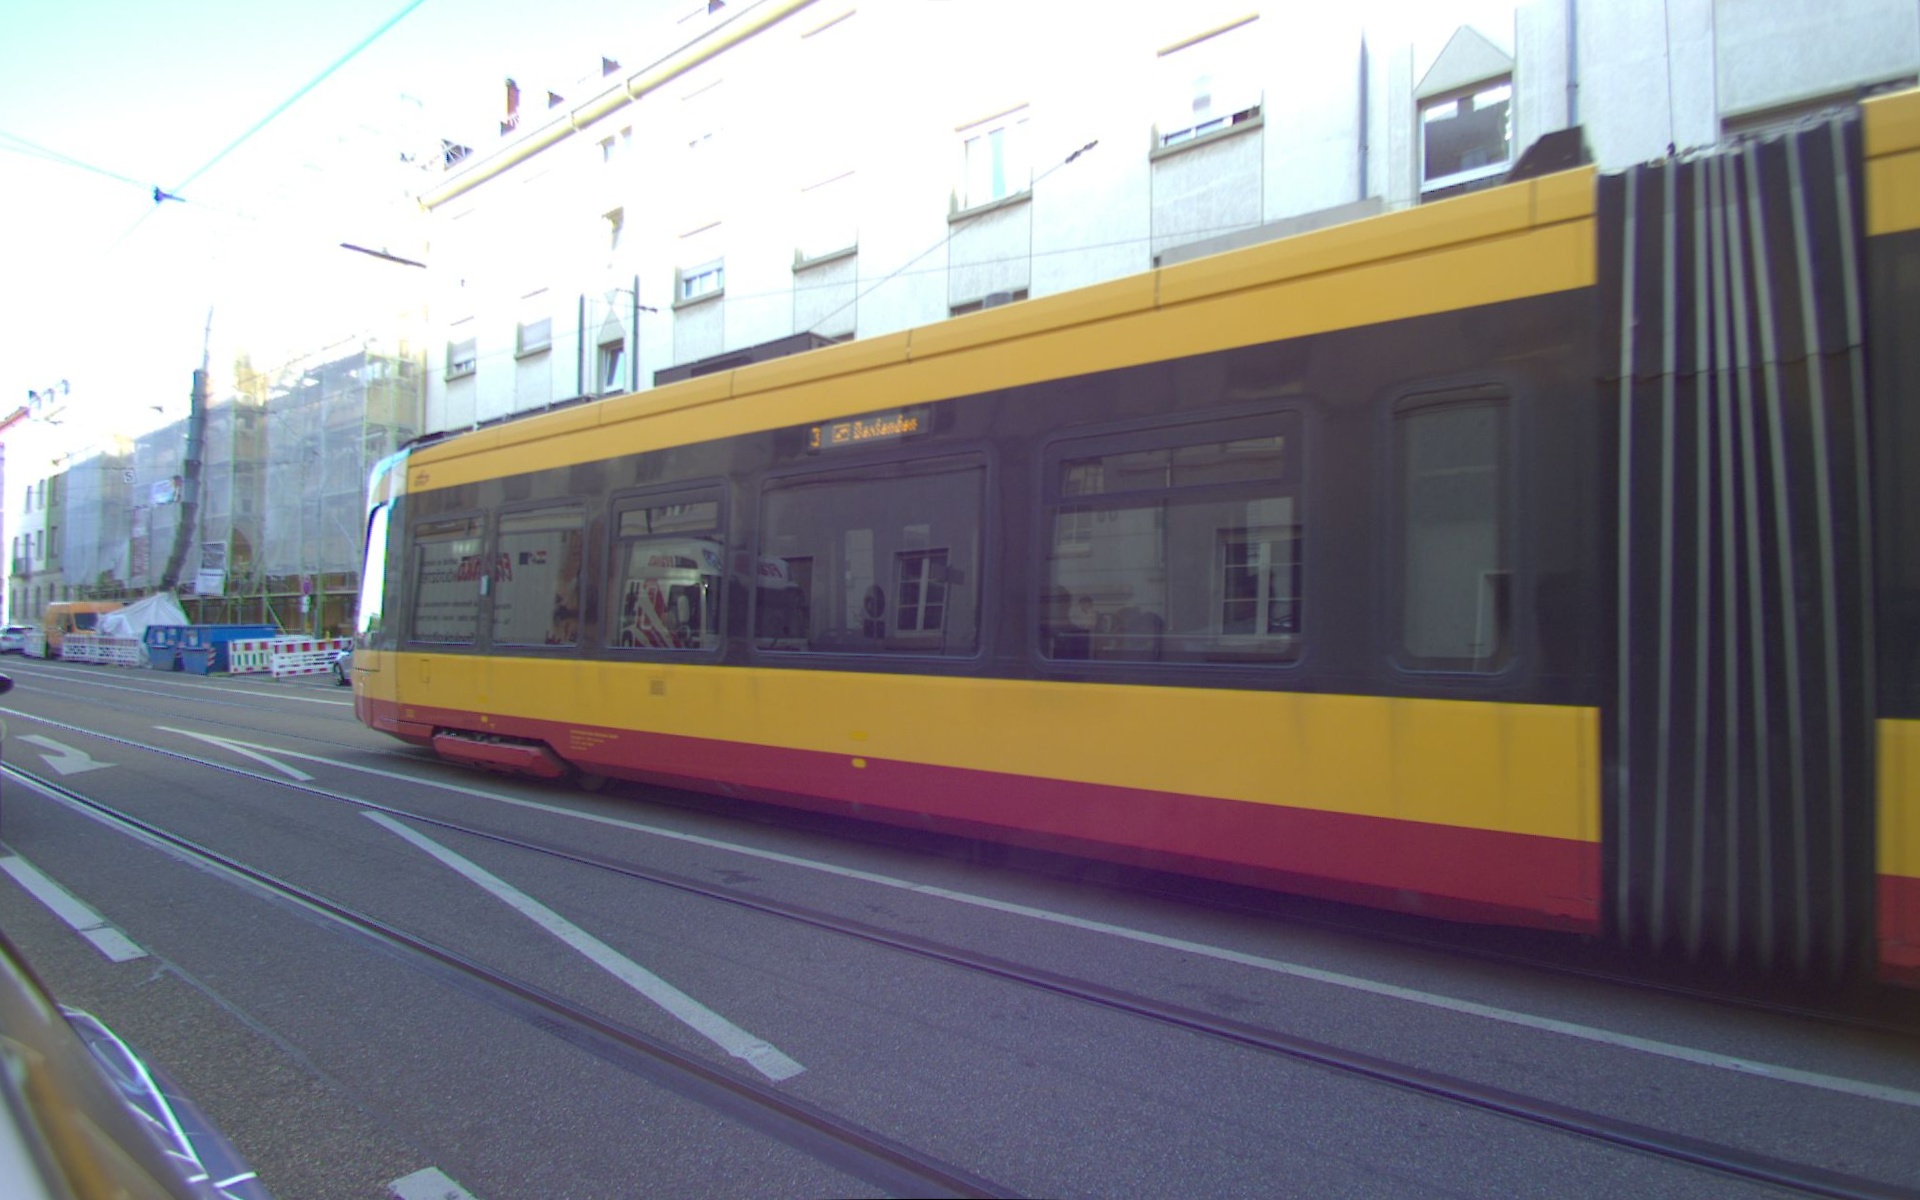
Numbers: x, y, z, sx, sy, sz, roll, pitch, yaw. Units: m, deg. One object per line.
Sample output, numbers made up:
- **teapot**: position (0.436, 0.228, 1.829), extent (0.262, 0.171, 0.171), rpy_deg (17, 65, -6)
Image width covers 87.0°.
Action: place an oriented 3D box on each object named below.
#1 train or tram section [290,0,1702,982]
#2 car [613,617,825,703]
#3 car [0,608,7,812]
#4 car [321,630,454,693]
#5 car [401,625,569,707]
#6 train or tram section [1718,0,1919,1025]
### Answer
- **train or tram section**: position (-1.598, -0.393, 8.590), extent (12.615, 3.621, 3.032), rpy_deg (-1, -3, 39)
- **car**: position (-4.170, 0.956, 17.382), extent (3.483, 1.286, 1.730), rpy_deg (-1, 0, 37)
- **car**: position (-8.026, 0.823, 6.970), extent (3.997, 1.515, 1.670), rpy_deg (-1, -3, 40)
- **car**: position (-14.458, 1.485, 25.495), extent (3.639, 1.402, 1.617), rpy_deg (-1, 0, 37)
- **car**: position (-10.575, 1.381, 22.415), extent (4.108, 1.603, 1.691), rpy_deg (-1, 0, 38)
- **train or tram section**: position (7.032, -0.568, 1.777), extent (9.070, 3.658, 2.799), rpy_deg (-1, 0, 38)
